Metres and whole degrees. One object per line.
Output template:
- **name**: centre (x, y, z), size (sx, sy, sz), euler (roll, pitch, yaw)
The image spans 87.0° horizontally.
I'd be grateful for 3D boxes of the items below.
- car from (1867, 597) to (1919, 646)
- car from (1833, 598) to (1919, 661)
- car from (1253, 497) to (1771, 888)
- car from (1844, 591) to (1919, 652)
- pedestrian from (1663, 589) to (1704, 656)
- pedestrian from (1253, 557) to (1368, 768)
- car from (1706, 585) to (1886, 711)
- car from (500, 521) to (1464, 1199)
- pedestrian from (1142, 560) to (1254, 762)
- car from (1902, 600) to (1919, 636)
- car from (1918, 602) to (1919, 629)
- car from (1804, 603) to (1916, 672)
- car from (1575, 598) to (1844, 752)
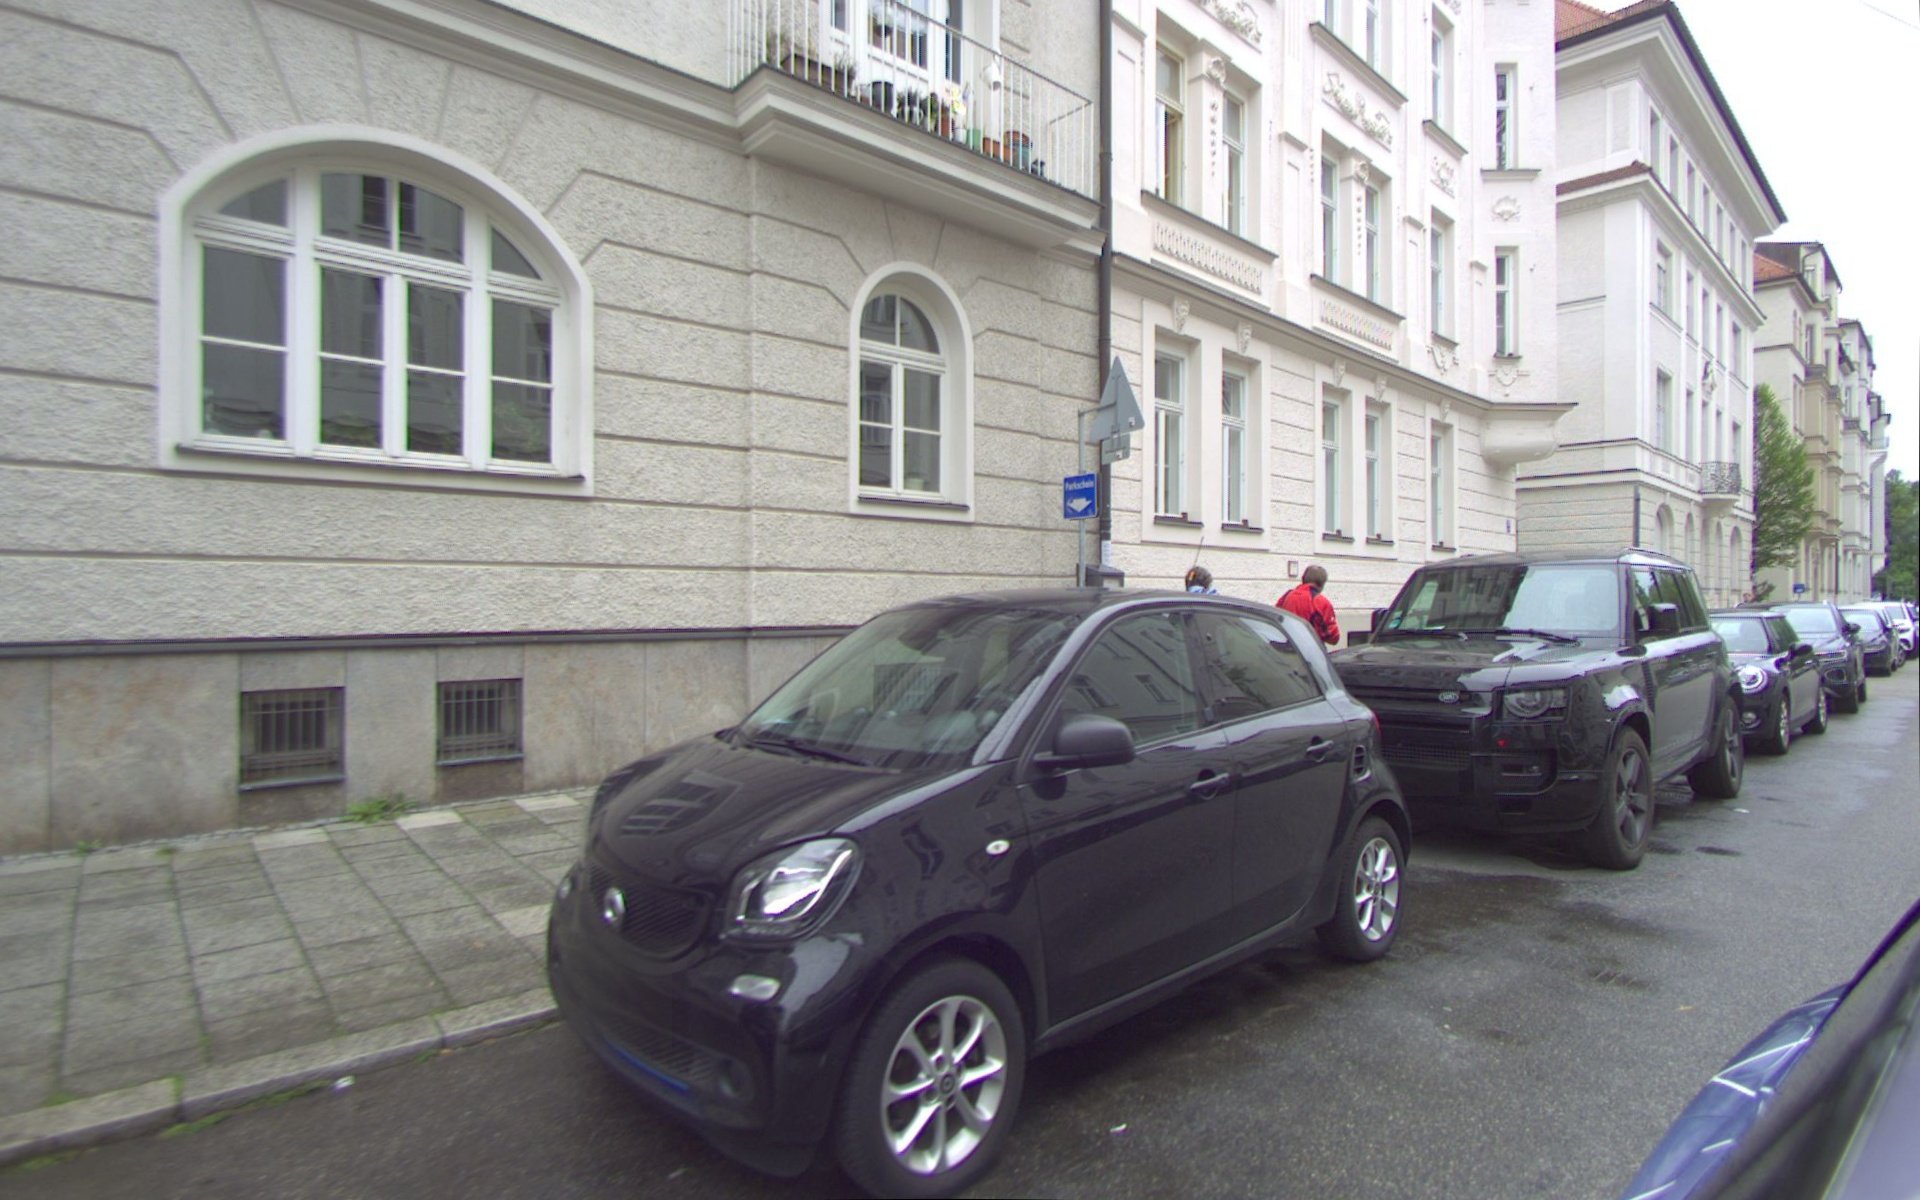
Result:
- **car**: centre (31.340, 0.684, 33.416), size (4.100, 1.544, 1.750), euler (0, 0, -44)
- **car**: centre (23.985, 0.722, 26.360), size (1.708, 1.520, 3.937), euler (-1, 0, 43)
- **car**: centre (4.184, 0.474, 7.264), size (4.635, 1.909, 1.912), euler (0, -2, -44)
- **car**: centre (27.424, 0.611, 29.616), size (4.316, 1.657, 1.898), euler (1, -1, -43)
- **pedestrian**: centre (18.935, 0.577, 26.498), size (0.799, 1.700, 0.683), euler (1, 1, -44)
- **pedestrian**: centre (3.073, 0.507, 8.878), size (0.703, 1.750, 0.692), euler (1, 1, 44)
- **car**: centre (12.497, 0.644, 15.044), size (1.707, 1.608, 3.935), euler (-2, -2, 44)
- **car**: centre (0.380, 0.625, 3.884), size (3.575, 1.545, 1.656), euler (1, -1, -43)
- **pedestrian**: centre (2.115, 0.505, 8.989), size (0.680, 1.695, 0.644), euler (3, 2, 44)
- **car**: centre (42.181, 0.775, 44.072), size (1.663, 1.527, 4.000), euler (0, -1, 44)
- **car**: centre (52.539, 0.807, 54.145), size (3.933, 1.436, 1.643), euler (0, -1, -43)
- **car**: centre (20.414, 0.795, 22.903), size (3.934, 1.413, 1.613), euler (0, -1, -45)
- **car**: centre (8.312, 0.707, 11.134), size (3.520, 1.413, 1.666), euler (0, -1, -42)
